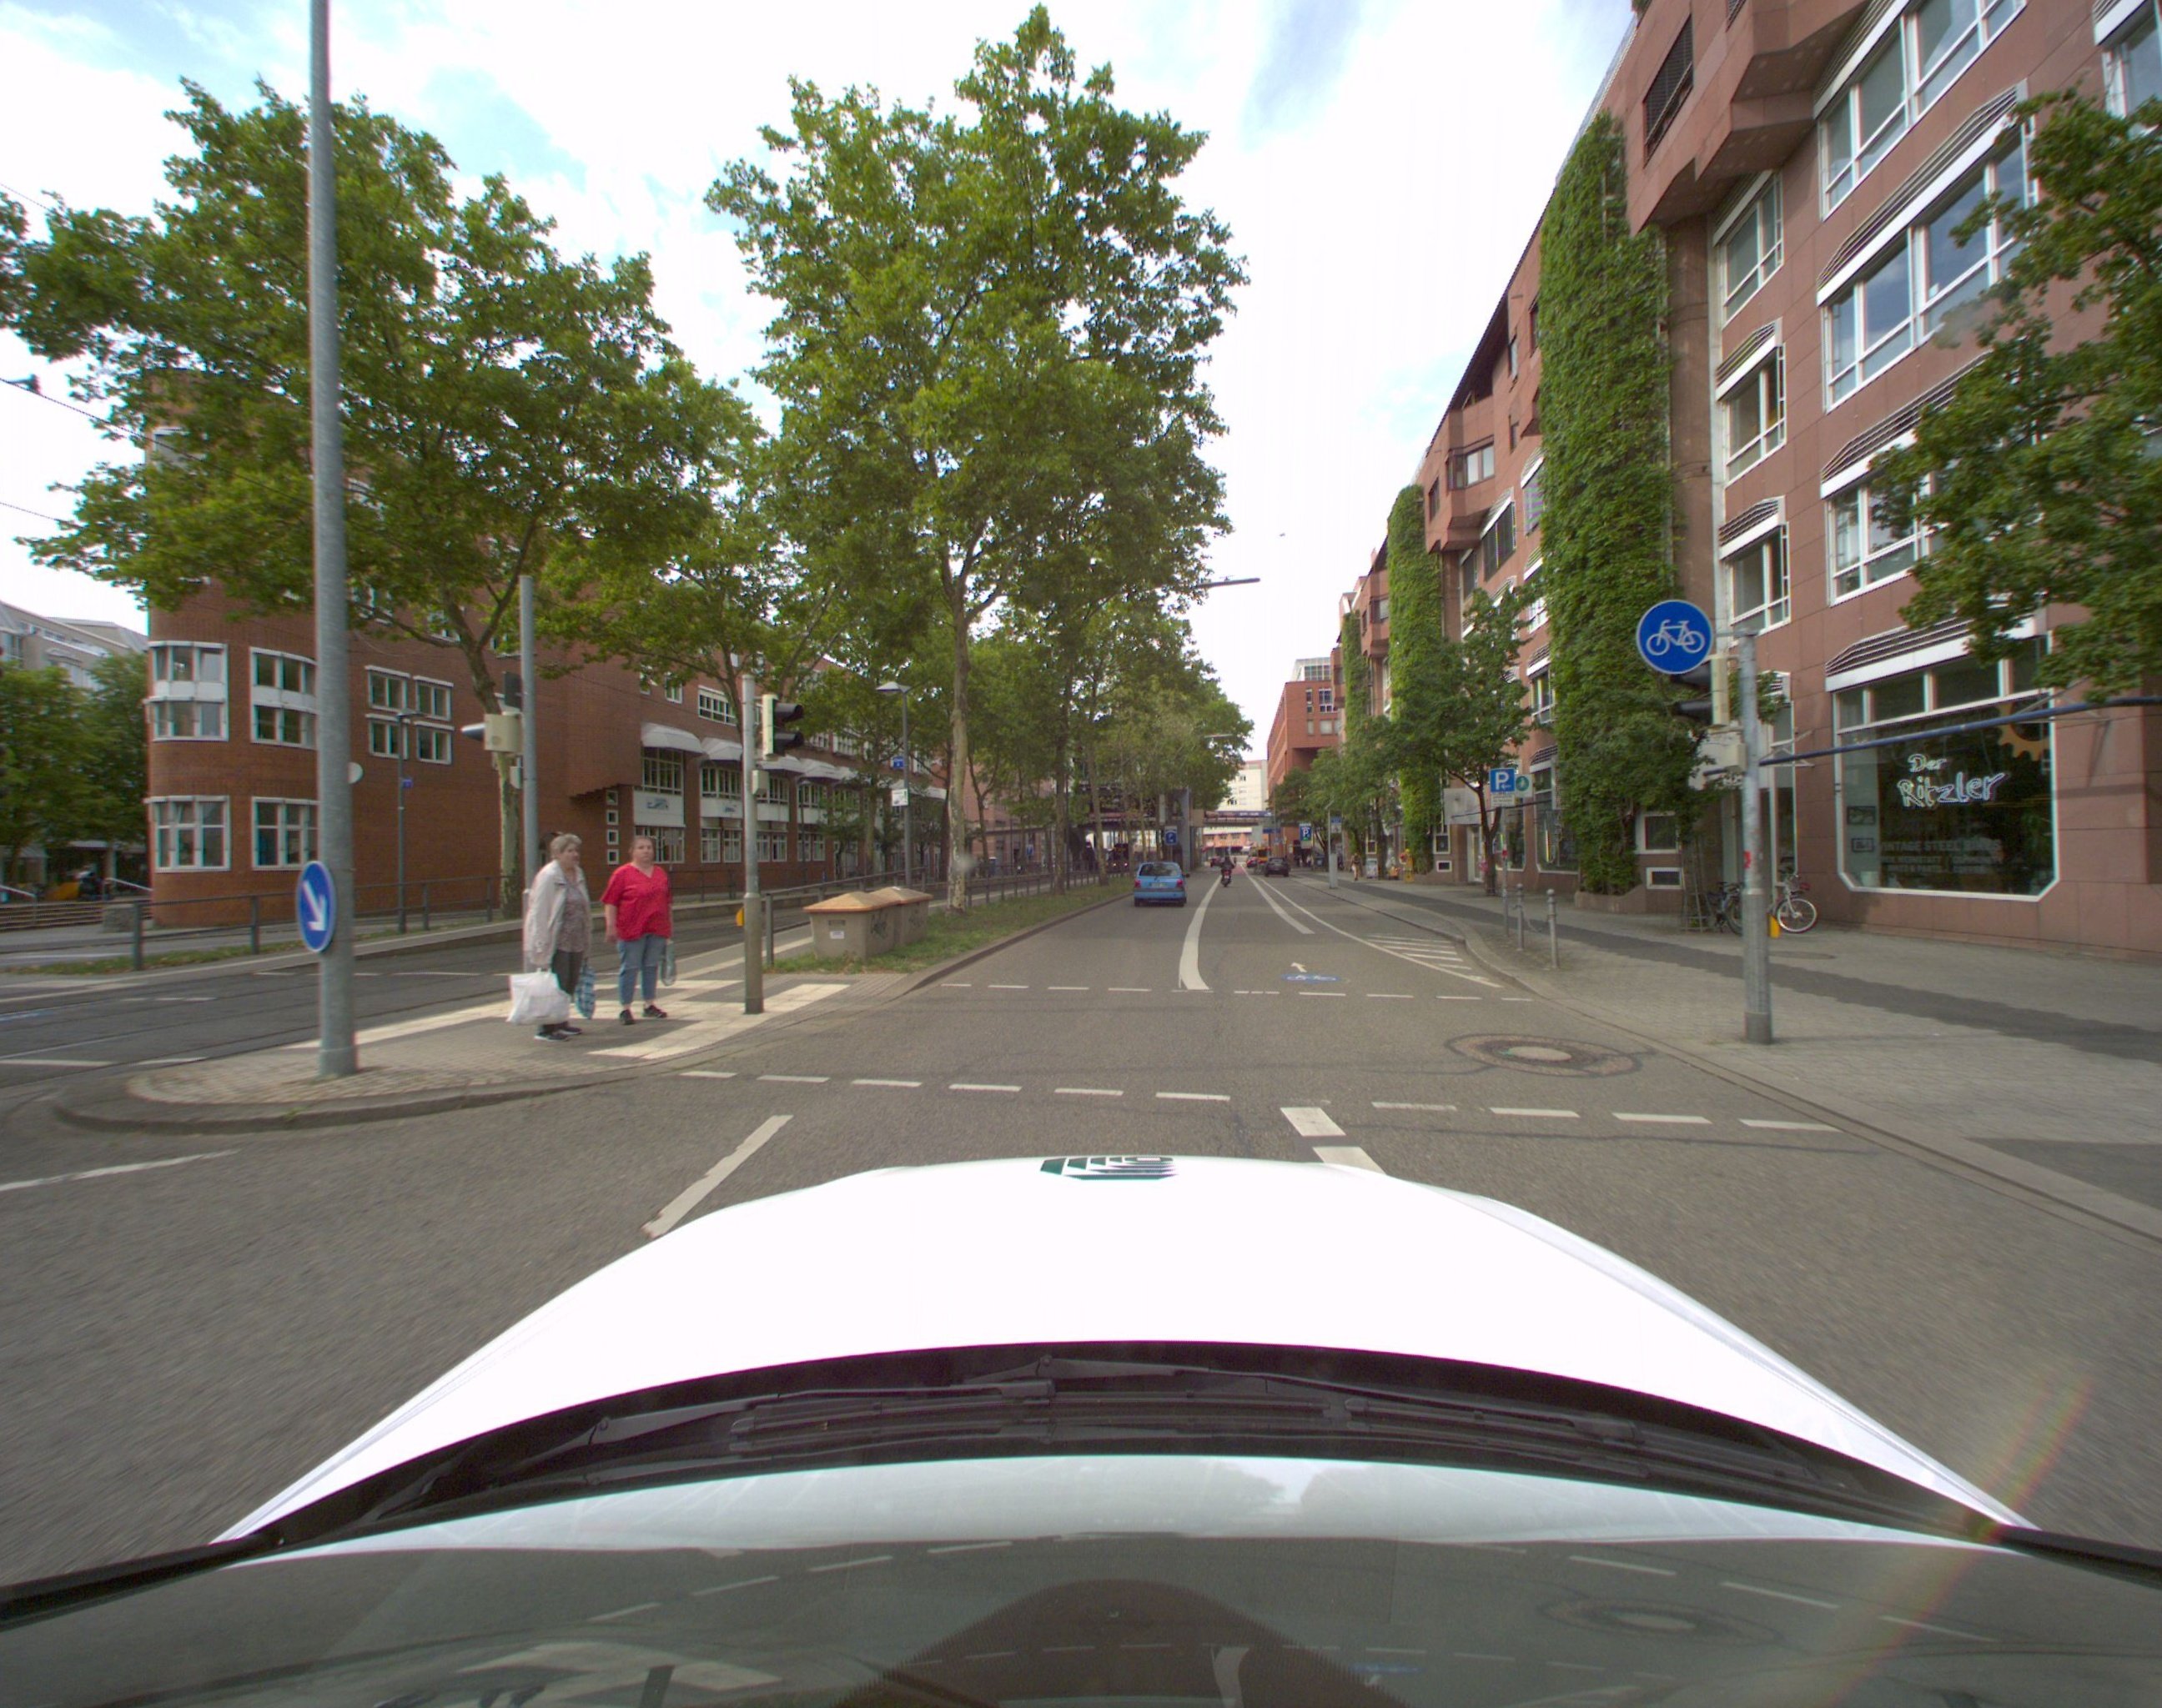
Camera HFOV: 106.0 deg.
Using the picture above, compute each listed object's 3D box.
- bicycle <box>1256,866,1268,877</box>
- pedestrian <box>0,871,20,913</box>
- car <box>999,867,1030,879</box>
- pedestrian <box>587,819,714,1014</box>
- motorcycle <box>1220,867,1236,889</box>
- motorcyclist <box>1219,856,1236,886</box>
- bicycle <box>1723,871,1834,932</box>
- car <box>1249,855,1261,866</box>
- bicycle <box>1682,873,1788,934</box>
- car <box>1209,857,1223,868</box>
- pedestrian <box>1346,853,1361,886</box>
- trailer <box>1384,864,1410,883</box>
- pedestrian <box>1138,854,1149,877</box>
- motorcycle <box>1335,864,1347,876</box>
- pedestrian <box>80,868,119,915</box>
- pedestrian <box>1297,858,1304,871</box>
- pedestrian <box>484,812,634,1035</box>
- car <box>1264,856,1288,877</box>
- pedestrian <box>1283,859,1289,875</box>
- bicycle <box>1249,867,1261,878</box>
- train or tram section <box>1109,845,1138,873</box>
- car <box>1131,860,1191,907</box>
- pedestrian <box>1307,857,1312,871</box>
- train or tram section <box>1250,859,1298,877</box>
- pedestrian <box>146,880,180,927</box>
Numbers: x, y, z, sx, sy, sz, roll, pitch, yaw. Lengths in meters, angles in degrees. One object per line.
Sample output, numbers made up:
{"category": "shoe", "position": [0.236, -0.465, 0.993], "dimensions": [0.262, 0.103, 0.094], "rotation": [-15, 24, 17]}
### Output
{"category": "bicycle", "position": [17.060, 1.688, 76.788], "dimensions": [0.562, 1.008, 2.006], "rotation": [-1, -1, -5]}
{"category": "pedestrian", "position": [-43.009, 1.511, 32.381], "dimensions": [0.696, 1.671, 0.824], "rotation": [-1, -1, -27]}
{"category": "car", "position": [-9.159, 2.642, 112.585], "dimensions": [3.966, 1.624, 1.808], "rotation": [-1, -1, 7]}
{"category": "pedestrian", "position": [-4.058, 0.555, 7.720], "dimensions": [0.547, 1.718, 0.896], "rotation": [-1, -1, 26]}
{"category": "motorcycle", "position": [7.591, 1.221, 42.168], "dimensions": [0.763, 1.107, 2.214], "rotation": [-2, -1, 9]}
{"category": "motorcyclist", "position": [7.594, 0.897, 42.248], "dimensions": [0.755, 1.519, 1.020], "rotation": [-2, -1, 9]}
{"category": "bicycle", "position": [12.626, 0.831, 14.815], "dimensions": [0.614, 1.008, 1.738], "rotation": [-1, -1, 5]}
{"category": "car", "position": [25.978, 1.013, 121.802], "dimensions": [1.688, 1.601, 4.013], "rotation": [-1, 0, 11]}
{"category": "bicycle", "position": [11.810, 0.865, 14.776], "dimensions": [0.614, 1.008, 1.738], "rotation": [-1, -1, 5]}
{"category": "car", "position": [21.291, 1.276, 128.263], "dimensions": [1.874, 1.624, 4.013], "rotation": [-1, -1, 11]}
{"category": "pedestrian", "position": [15.629, 0.861, 46.663], "dimensions": [0.642, 1.859, 0.785], "rotation": [-1, -1, 9]}
{"category": "trailer", "position": [18.050, 1.097, 46.520], "dimensions": [0.982, 1.059, 1.619], "rotation": [-2, -1, 35]}
{"category": "pedestrian", "position": [5.114, 0.952, 66.483], "dimensions": [0.723, 1.859, 0.873], "rotation": [-1, -1, 11]}
{"category": "motorcycle", "position": [25.455, 1.572, 79.650], "dimensions": [0.752, 1.137, 2.442], "rotation": [-1, -1, 9]}
{"category": "pedestrian", "position": [-42.227, 1.596, 35.051], "dimensions": [0.794, 1.964, 0.799], "rotation": [-1, -1, -25]}
{"category": "pedestrian", "position": [26.421, 1.234, 98.060], "dimensions": [0.666, 1.561, 0.730], "rotation": [-1, -1, 6]}
{"category": "pedestrian", "position": [-4.323, 0.541, 6.796], "dimensions": [0.548, 1.718, 0.894], "rotation": [-1, -1, 17]}
{"category": "car", "position": [15.579, 0.943, 65.271], "dimensions": [1.688, 1.601, 4.013], "rotation": [-1, 0, 11]}
{"category": "pedestrian", "position": [22.705, 1.437, 90.192], "dimensions": [0.506, 1.759, 0.540], "rotation": [-2, -1, 10]}
{"category": "bicycle", "position": [16.406, 1.722, 76.728], "dimensions": [0.562, 1.008, 2.006], "rotation": [-1, -1, -5]}
{"category": "train or tram section", "position": [5.358, 0.669, 100.820], "dimensions": [2.374, 3.254, 8.843], "rotation": [-2, -1, 10]}
{"category": "car", "position": [2.686, 0.918, 26.600], "dimensions": [1.630, 1.386, 3.854], "rotation": [-1, 0, 10]}
{"category": "pedestrian", "position": [27.319, 1.182, 97.326], "dimensions": [0.542, 1.561, 0.616], "rotation": [-1, -1, 10]}
{"category": "train or tram section", "position": [37.244, 2.671, 157.211], "dimensions": [8.788, 3.254, 2.389], "rotation": [-1, -1, -10]}
{"category": "pedestrian", "position": [-36.432, 1.942, 32.335], "dimensions": [0.696, 1.817, 0.650], "rotation": [-1, -1, -27]}
